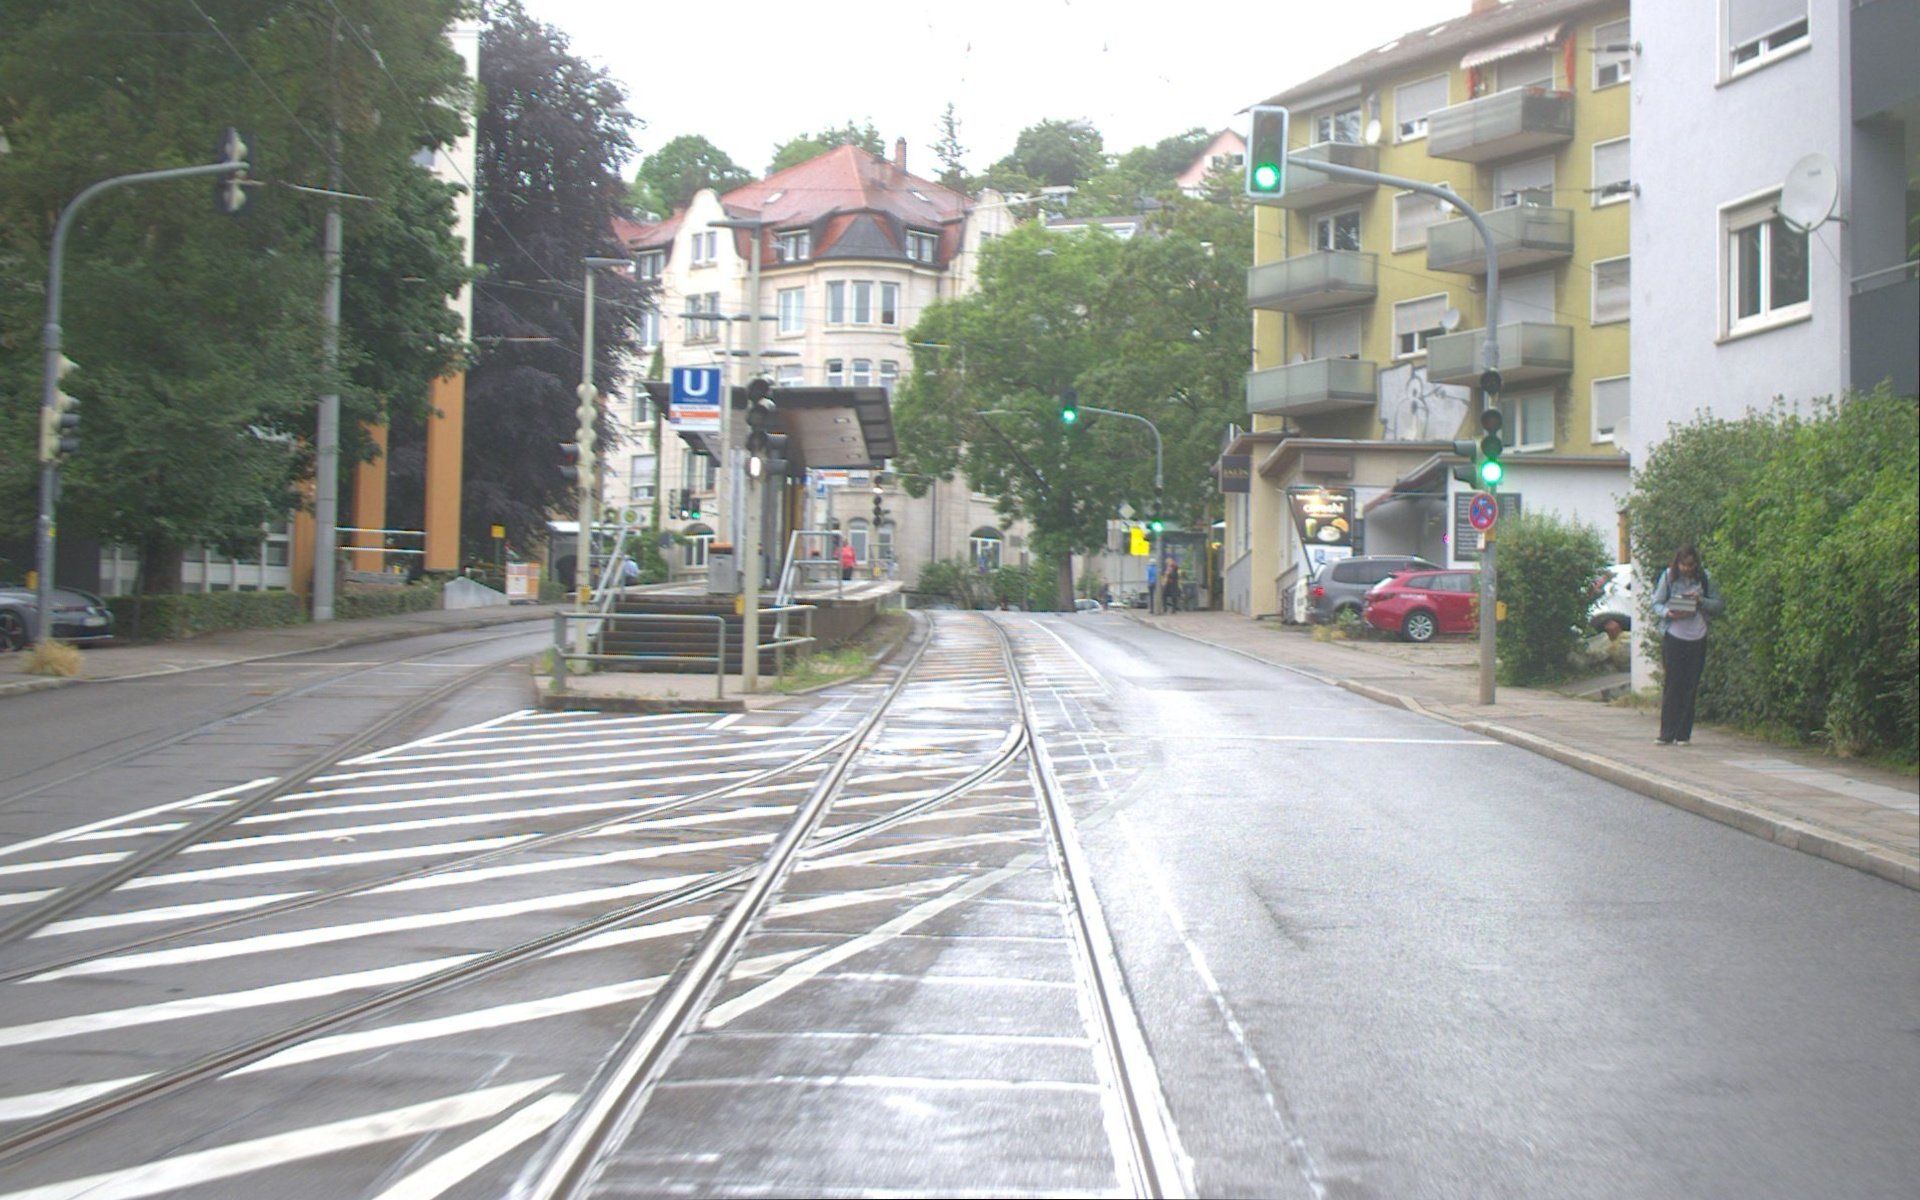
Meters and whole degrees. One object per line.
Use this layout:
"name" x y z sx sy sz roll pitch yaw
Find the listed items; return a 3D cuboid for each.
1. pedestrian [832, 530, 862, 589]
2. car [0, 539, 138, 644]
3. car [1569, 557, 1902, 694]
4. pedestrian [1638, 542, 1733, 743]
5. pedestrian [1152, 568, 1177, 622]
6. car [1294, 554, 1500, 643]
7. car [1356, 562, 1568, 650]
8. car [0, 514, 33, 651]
"pedestrian" -2.907 -1.047 88.681 0.657 1.462 0.772 2 -4 3
"car" -14.303 -0.128 50.646 3.992 1.401 1.680 1 -4 23
"car" 10.327 0.358 45.961 3.987 1.640 1.807 2 -2 -1
"pedestrian" 6.019 0.356 28.541 0.644 1.623 0.699 2 -1 4
"pedestrian" 5.823 -0.141 98.021 0.578 1.462 0.544 3 -4 -7
"car" 9.049 -0.023 71.374 3.987 1.640 1.807 2 -2 0
"car" 9.849 0.124 67.687 3.842 1.537 1.807 2 -2 -1
"car" -13.181 -0.329 42.686 1.994 1.678 3.999 2 -3 3
